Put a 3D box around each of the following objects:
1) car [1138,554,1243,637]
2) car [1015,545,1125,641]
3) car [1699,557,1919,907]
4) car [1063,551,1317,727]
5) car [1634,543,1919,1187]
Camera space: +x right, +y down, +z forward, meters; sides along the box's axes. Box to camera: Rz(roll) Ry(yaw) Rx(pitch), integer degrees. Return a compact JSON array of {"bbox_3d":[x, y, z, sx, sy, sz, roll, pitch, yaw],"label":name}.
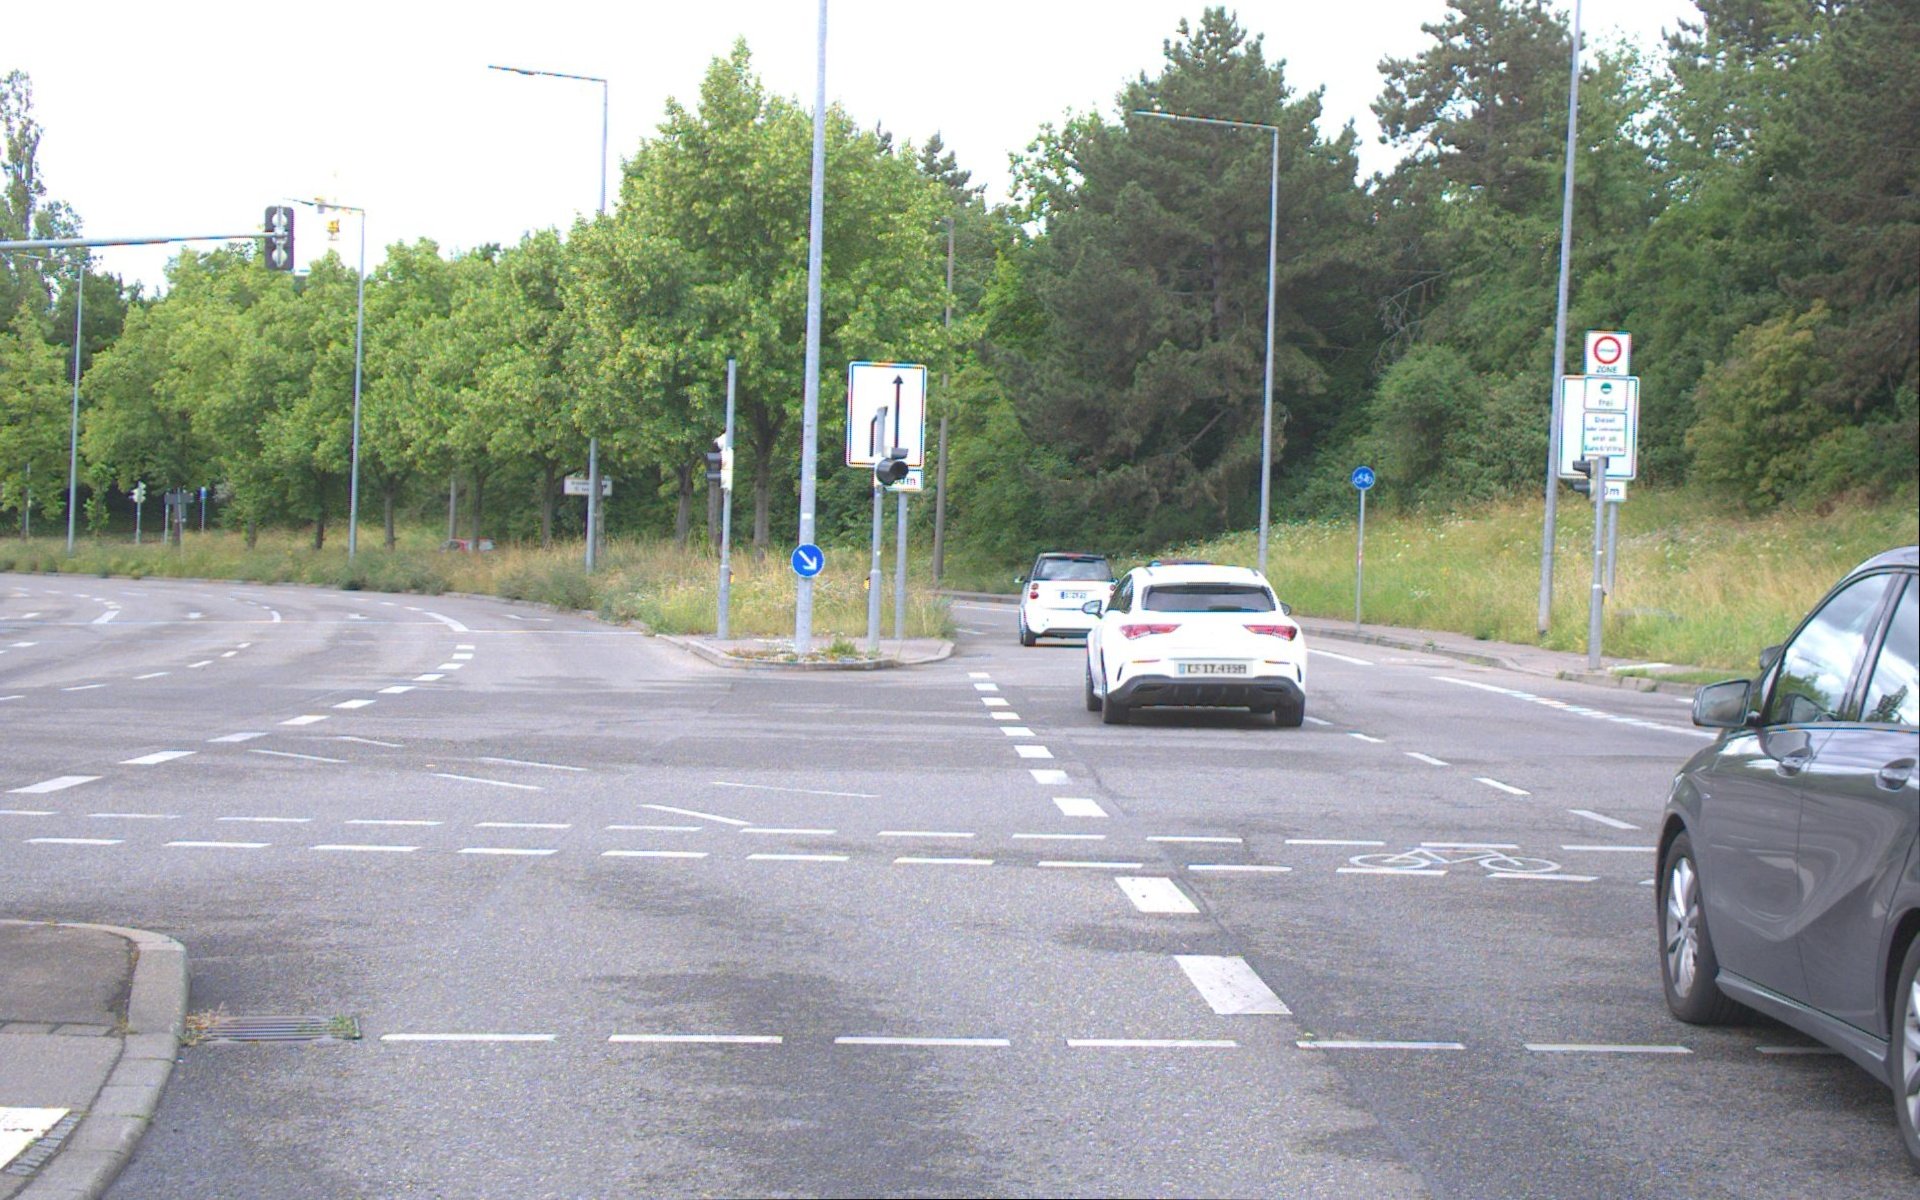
[{"bbox_3d":[4.163,-0.096,62.563,1.613,1.448,3.882,1,0,0],"label":"car"},{"bbox_3d":[1.773,-0.118,56.089,1.592,1.511,2.767,1,0,-2],"label":"car"},{"bbox_3d":[5.117,0.571,17.394,1.746,1.480,4.356,1,2,-1],"label":"car"},{"bbox_3d":[2.058,0.316,31.965,1.844,1.501,4.531,1,0,-2],"label":"car"},{"bbox_3d":[3.112,0.613,9.265,1.746,1.503,4.000,1,1,-1],"label":"car"}]
